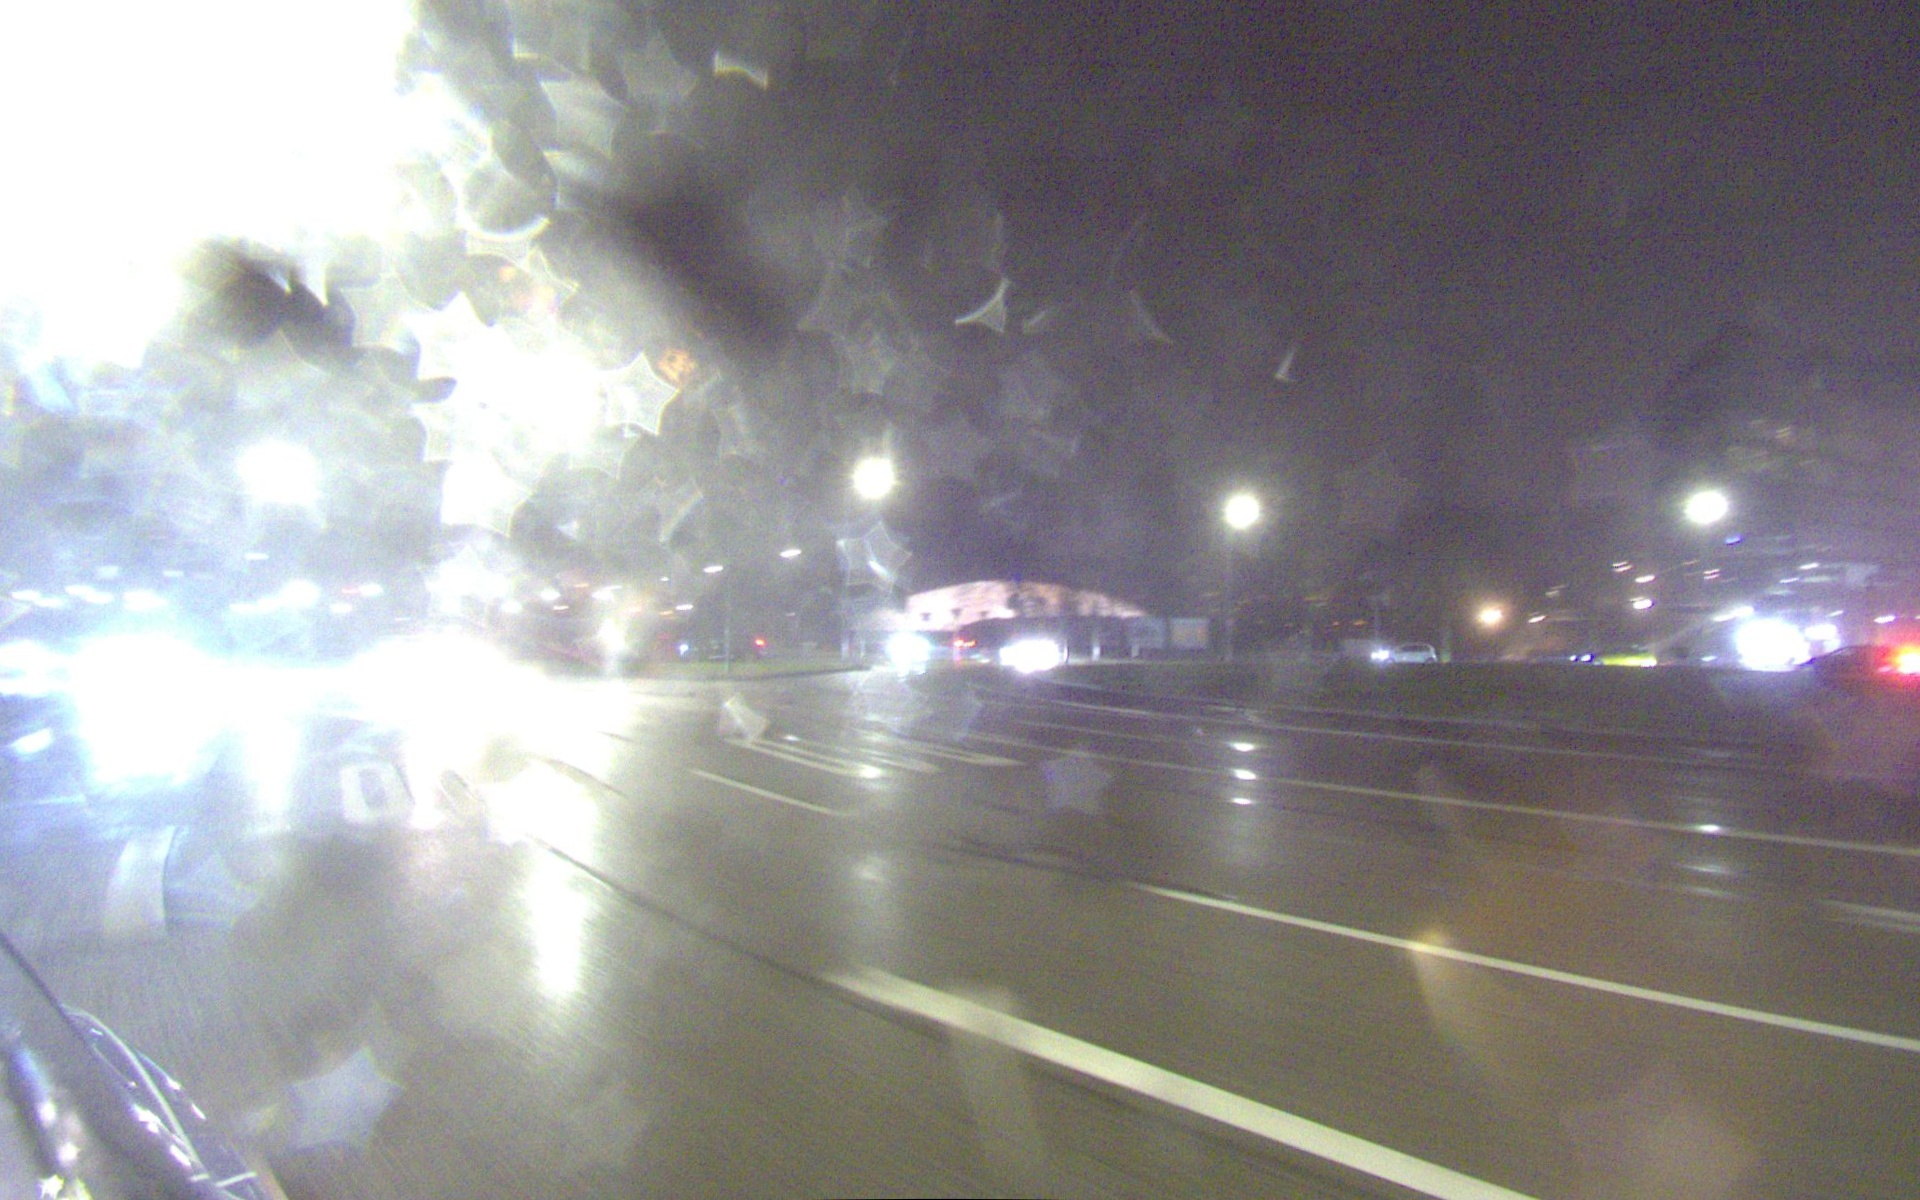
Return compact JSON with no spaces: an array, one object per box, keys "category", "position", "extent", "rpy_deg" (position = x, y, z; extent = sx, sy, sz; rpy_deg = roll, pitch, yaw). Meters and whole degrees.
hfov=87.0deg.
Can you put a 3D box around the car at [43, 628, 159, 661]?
[{"category":"car","position":[-47.387,2.447,55.902],"extent":[4.980,1.729,2.066],"rpy_deg":[0,-1,7]}]

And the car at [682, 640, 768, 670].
[{"category":"car","position":[-11.439,2.654,49.452],"extent":[3.887,1.383,1.832],"rpy_deg":[0,-1,-5]}]

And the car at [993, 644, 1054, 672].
[{"category":"car","position":[3.895,3.567,62.727],"extent":[1.730,1.586,4.011],"rpy_deg":[1,-1,-32]}]

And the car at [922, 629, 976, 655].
[{"category":"car","position":[-0.975,3.538,85.557],"extent":[4.421,2.029,1.972],"rpy_deg":[-1,-1,42]}]

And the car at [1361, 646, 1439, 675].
[{"category":"car","position":[26.023,3.546,59.973],"extent":[3.818,1.630,1.773],"rpy_deg":[0,-1,0]}]

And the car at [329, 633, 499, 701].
[{"category":"car","position":[-14.198,1.664,26.227],"extent":[4.861,1.538,1.814],"rpy_deg":[0,-1,34]}]

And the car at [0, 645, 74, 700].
[{"category":"car","position":[-32.740,2.423,34.496],"extent":[4.154,1.719,1.826],"rpy_deg":[0,-1,15]}]

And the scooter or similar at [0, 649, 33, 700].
[{"category":"scooter or similar","position":[-21.048,1.628,22.115],"extent":[0.318,1.106,1.089],"rpy_deg":[-1,-3,42]}]

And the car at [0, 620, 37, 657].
[{"category":"car","position":[-48.473,1.862,49.531],"extent":[5.068,1.745,2.059],"rpy_deg":[0,-1,6]}]

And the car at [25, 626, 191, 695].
[{"category":"car","position":[-23.571,1.601,27.993],"extent":[4.418,1.732,1.934],"rpy_deg":[0,-1,27]}]

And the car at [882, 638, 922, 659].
[{"category":"car","position":[-4.657,3.824,80.630],"extent":[1.650,1.541,4.013],"rpy_deg":[1,-1,-28]}]

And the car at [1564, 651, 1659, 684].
[{"category":"car","position":[34.968,3.611,54.408],"extent":[3.827,1.630,1.769],"rpy_deg":[0,-1,8]}]
